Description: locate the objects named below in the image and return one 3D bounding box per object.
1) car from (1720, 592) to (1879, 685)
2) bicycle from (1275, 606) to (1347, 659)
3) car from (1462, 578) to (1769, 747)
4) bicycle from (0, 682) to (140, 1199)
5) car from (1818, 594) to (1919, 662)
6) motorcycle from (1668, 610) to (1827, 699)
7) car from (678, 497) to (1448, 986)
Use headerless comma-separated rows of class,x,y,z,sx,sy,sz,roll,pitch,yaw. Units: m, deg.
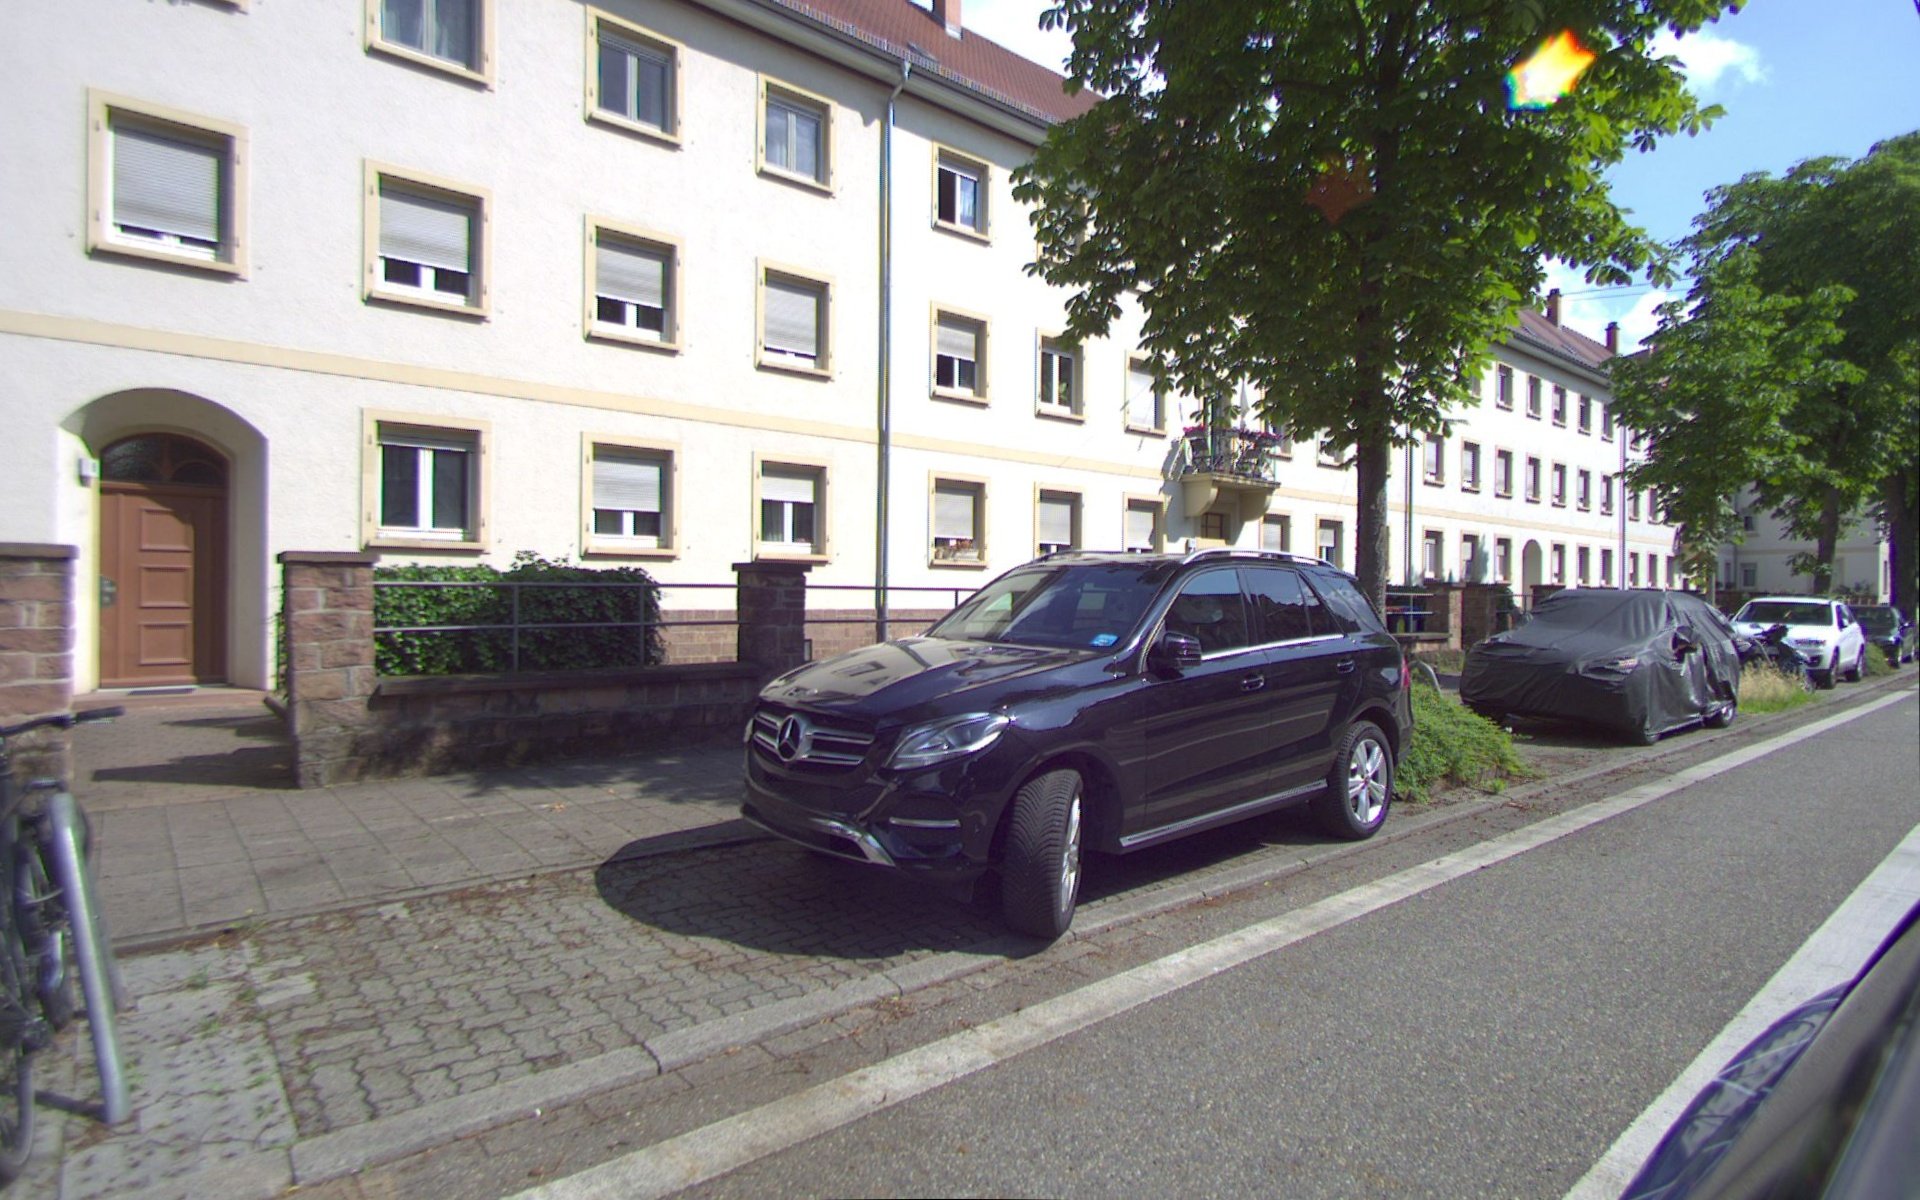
car,16.220,0.656,19.482,4.175,1.601,1.745,0,0,-41
bicycle,6.765,0.607,19.465,1.649,0.976,0.538,0,0,-40
car,8.020,0.603,12.212,4.555,1.674,1.866,0,0,-40
bicycle,-2.751,0.827,2.891,0.626,1.020,1.712,0,1,-39
car,22.640,0.637,24.971,4.213,1.540,1.663,0,0,-41
motorcycle,13.101,0.863,16.884,0.735,1.354,2.008,0,0,-43
car,0.922,0.516,5.966,4.650,1.805,1.830,0,0,-41
